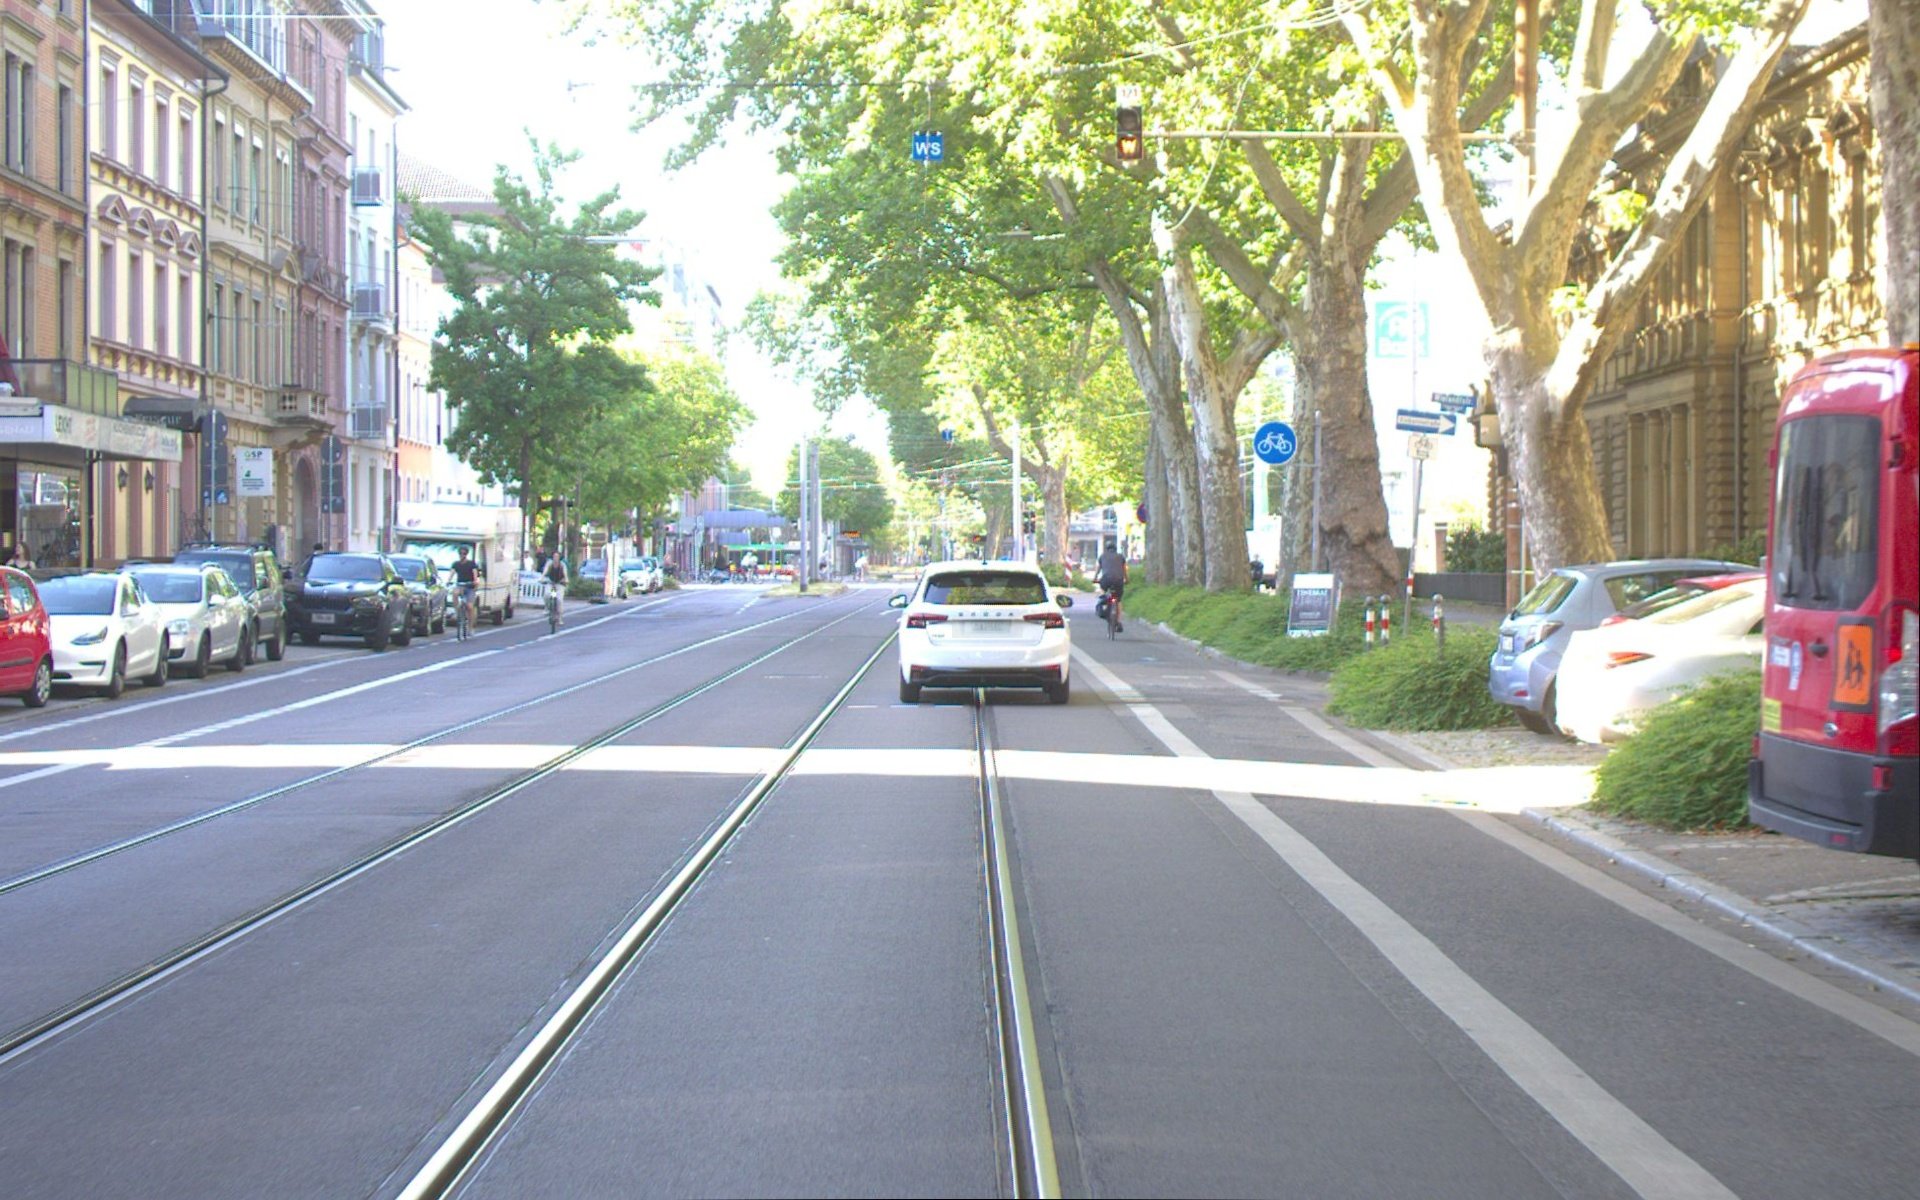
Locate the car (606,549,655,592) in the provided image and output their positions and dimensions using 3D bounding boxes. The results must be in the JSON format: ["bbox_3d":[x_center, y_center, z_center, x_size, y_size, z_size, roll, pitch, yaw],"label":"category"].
[{"bbox_3d":[-13.790,-1.235,143.885,1.794,1.720,3.785,1,1,-2],"label":"car"}]

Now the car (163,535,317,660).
[{"bbox_3d":[-10.526,-0.061,50.488,1.555,1.726,3.686,1,1,-2],"label":"car"}]

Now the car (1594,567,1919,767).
[{"bbox_3d":[6.888,0.464,26.033,3.750,1.382,1.681,-1,1,-6],"label":"car"}]

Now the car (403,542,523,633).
[{"bbox_3d":[-10.219,-0.281,70.983,1.964,1.775,4.471,1,1,-2],"label":"car"}]

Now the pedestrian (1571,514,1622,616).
[{"bbox_3d":[10.361,-0.563,55.952,0.648,1.627,0.871,2,0,19],"label":"pedestrian"}]

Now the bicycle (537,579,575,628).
[{"bbox_3d":[-8.198,0.064,69.843,0.499,0.940,1.921,-2,1,1],"label":"bicycle"}]

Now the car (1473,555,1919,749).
[{"bbox_3d":[6.345,0.419,28.988,3.751,1.503,1.681,1,1,0],"label":"car"}]

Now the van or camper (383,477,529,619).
[{"bbox_3d":[-11.691,-1.195,80.242,2.216,3.129,7.113,1,1,1],"label":"van or camper"}]

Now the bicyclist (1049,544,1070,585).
[{"bbox_3d":[3.879,-1.392,133.650,0.737,1.583,0.586,0,1,12],"label":"bicyclist"}]

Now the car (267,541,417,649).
[{"bbox_3d":[-11.159,-0.120,62.374,1.964,1.775,4.938,3,1,-3],"label":"car"}]

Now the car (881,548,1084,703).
[{"bbox_3d":[0.176,0.230,35.537,1.842,1.475,3.839,1,1,-3],"label":"car"}]

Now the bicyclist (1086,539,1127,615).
[{"bbox_3d":[2.634,-0.413,61.872,0.679,1.334,0.525,1,0,-1],"label":"bicyclist"}]

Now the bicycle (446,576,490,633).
[{"bbox_3d":[-9.443,0.072,66.043,0.484,1.044,2.039,-2,1,1],"label":"bicycle"}]

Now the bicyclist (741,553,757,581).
[{"bbox_3d":[-11.485,-1.789,186.774,0.631,1.517,0.610,-1,2,-35],"label":"bicyclist"}]

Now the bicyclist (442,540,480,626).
[{"bbox_3d":[-9.580,-0.331,65.984,0.535,1.629,0.896,-2,0,1],"label":"bicyclist"}]

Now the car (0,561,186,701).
[{"bbox_3d":[-10.501,0.321,40.705,1.827,1.497,4.689,1,1,-3],"label":"car"}]

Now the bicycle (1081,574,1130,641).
[{"bbox_3d":[2.607,0.123,61.901,0.680,1.151,2.964,1,1,-1],"label":"bicycle"}]

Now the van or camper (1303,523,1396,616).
[{"bbox_3d":[10.791,-0.847,95.555,2.027,2.455,5.108,1,1,1],"label":"van or camper"}]

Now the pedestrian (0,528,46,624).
[{"bbox_3d":[-14.363,-0.367,52.682,0.635,1.455,0.657,1,0,-17],"label":"pedestrian"}]

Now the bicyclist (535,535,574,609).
[{"bbox_3d":[-8.218,-0.568,69.742,0.638,1.498,1.070,-1,0,0],"label":"bicyclist"}]

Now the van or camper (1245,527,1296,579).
[{"bbox_3d":[14.503,-2.192,160.727,1.993,2.335,4.000,1,0,0],"label":"van or camper"}]

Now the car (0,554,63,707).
[{"bbox_3d":[-10.529,0.307,35.323,1.569,1.557,3.448,0,1,3],"label":"car"}]

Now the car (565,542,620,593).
[{"bbox_3d":[-12.814,-1.140,120.093,1.641,1.720,3.785,1,1,-2],"label":"car"}]

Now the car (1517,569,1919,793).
[{"bbox_3d":[6.155,0.520,23.854,4.286,1.412,1.760,-1,1,1],"label":"car"}]

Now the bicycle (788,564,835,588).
[{"bbox_3d":[-8.168,-1.313,188.836,2.680,1.323,0.615,-1,1,-35],"label":"bicycle"}]

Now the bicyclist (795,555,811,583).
[{"bbox_3d":[-8.611,-1.694,188.546,0.631,1.517,0.610,-1,2,-35],"label":"bicyclist"}]

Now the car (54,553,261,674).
[{"bbox_3d":[-10.657,0.143,45.947,1.827,1.497,4.450,1,1,-2],"label":"car"}]

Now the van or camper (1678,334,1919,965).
[{"bbox_3d":[6.332,0.083,15.014,5.814,2.510,2.288,-2,2,-3],"label":"van or camper"}]

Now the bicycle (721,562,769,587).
[{"bbox_3d":[-11.688,-1.374,186.646,2.680,1.323,0.615,-1,1,-35],"label":"bicycle"}]

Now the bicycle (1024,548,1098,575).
[{"bbox_3d":[3.917,-1.499,133.639,2.771,0.996,0.592,2,0,14],"label":"bicycle"}]
